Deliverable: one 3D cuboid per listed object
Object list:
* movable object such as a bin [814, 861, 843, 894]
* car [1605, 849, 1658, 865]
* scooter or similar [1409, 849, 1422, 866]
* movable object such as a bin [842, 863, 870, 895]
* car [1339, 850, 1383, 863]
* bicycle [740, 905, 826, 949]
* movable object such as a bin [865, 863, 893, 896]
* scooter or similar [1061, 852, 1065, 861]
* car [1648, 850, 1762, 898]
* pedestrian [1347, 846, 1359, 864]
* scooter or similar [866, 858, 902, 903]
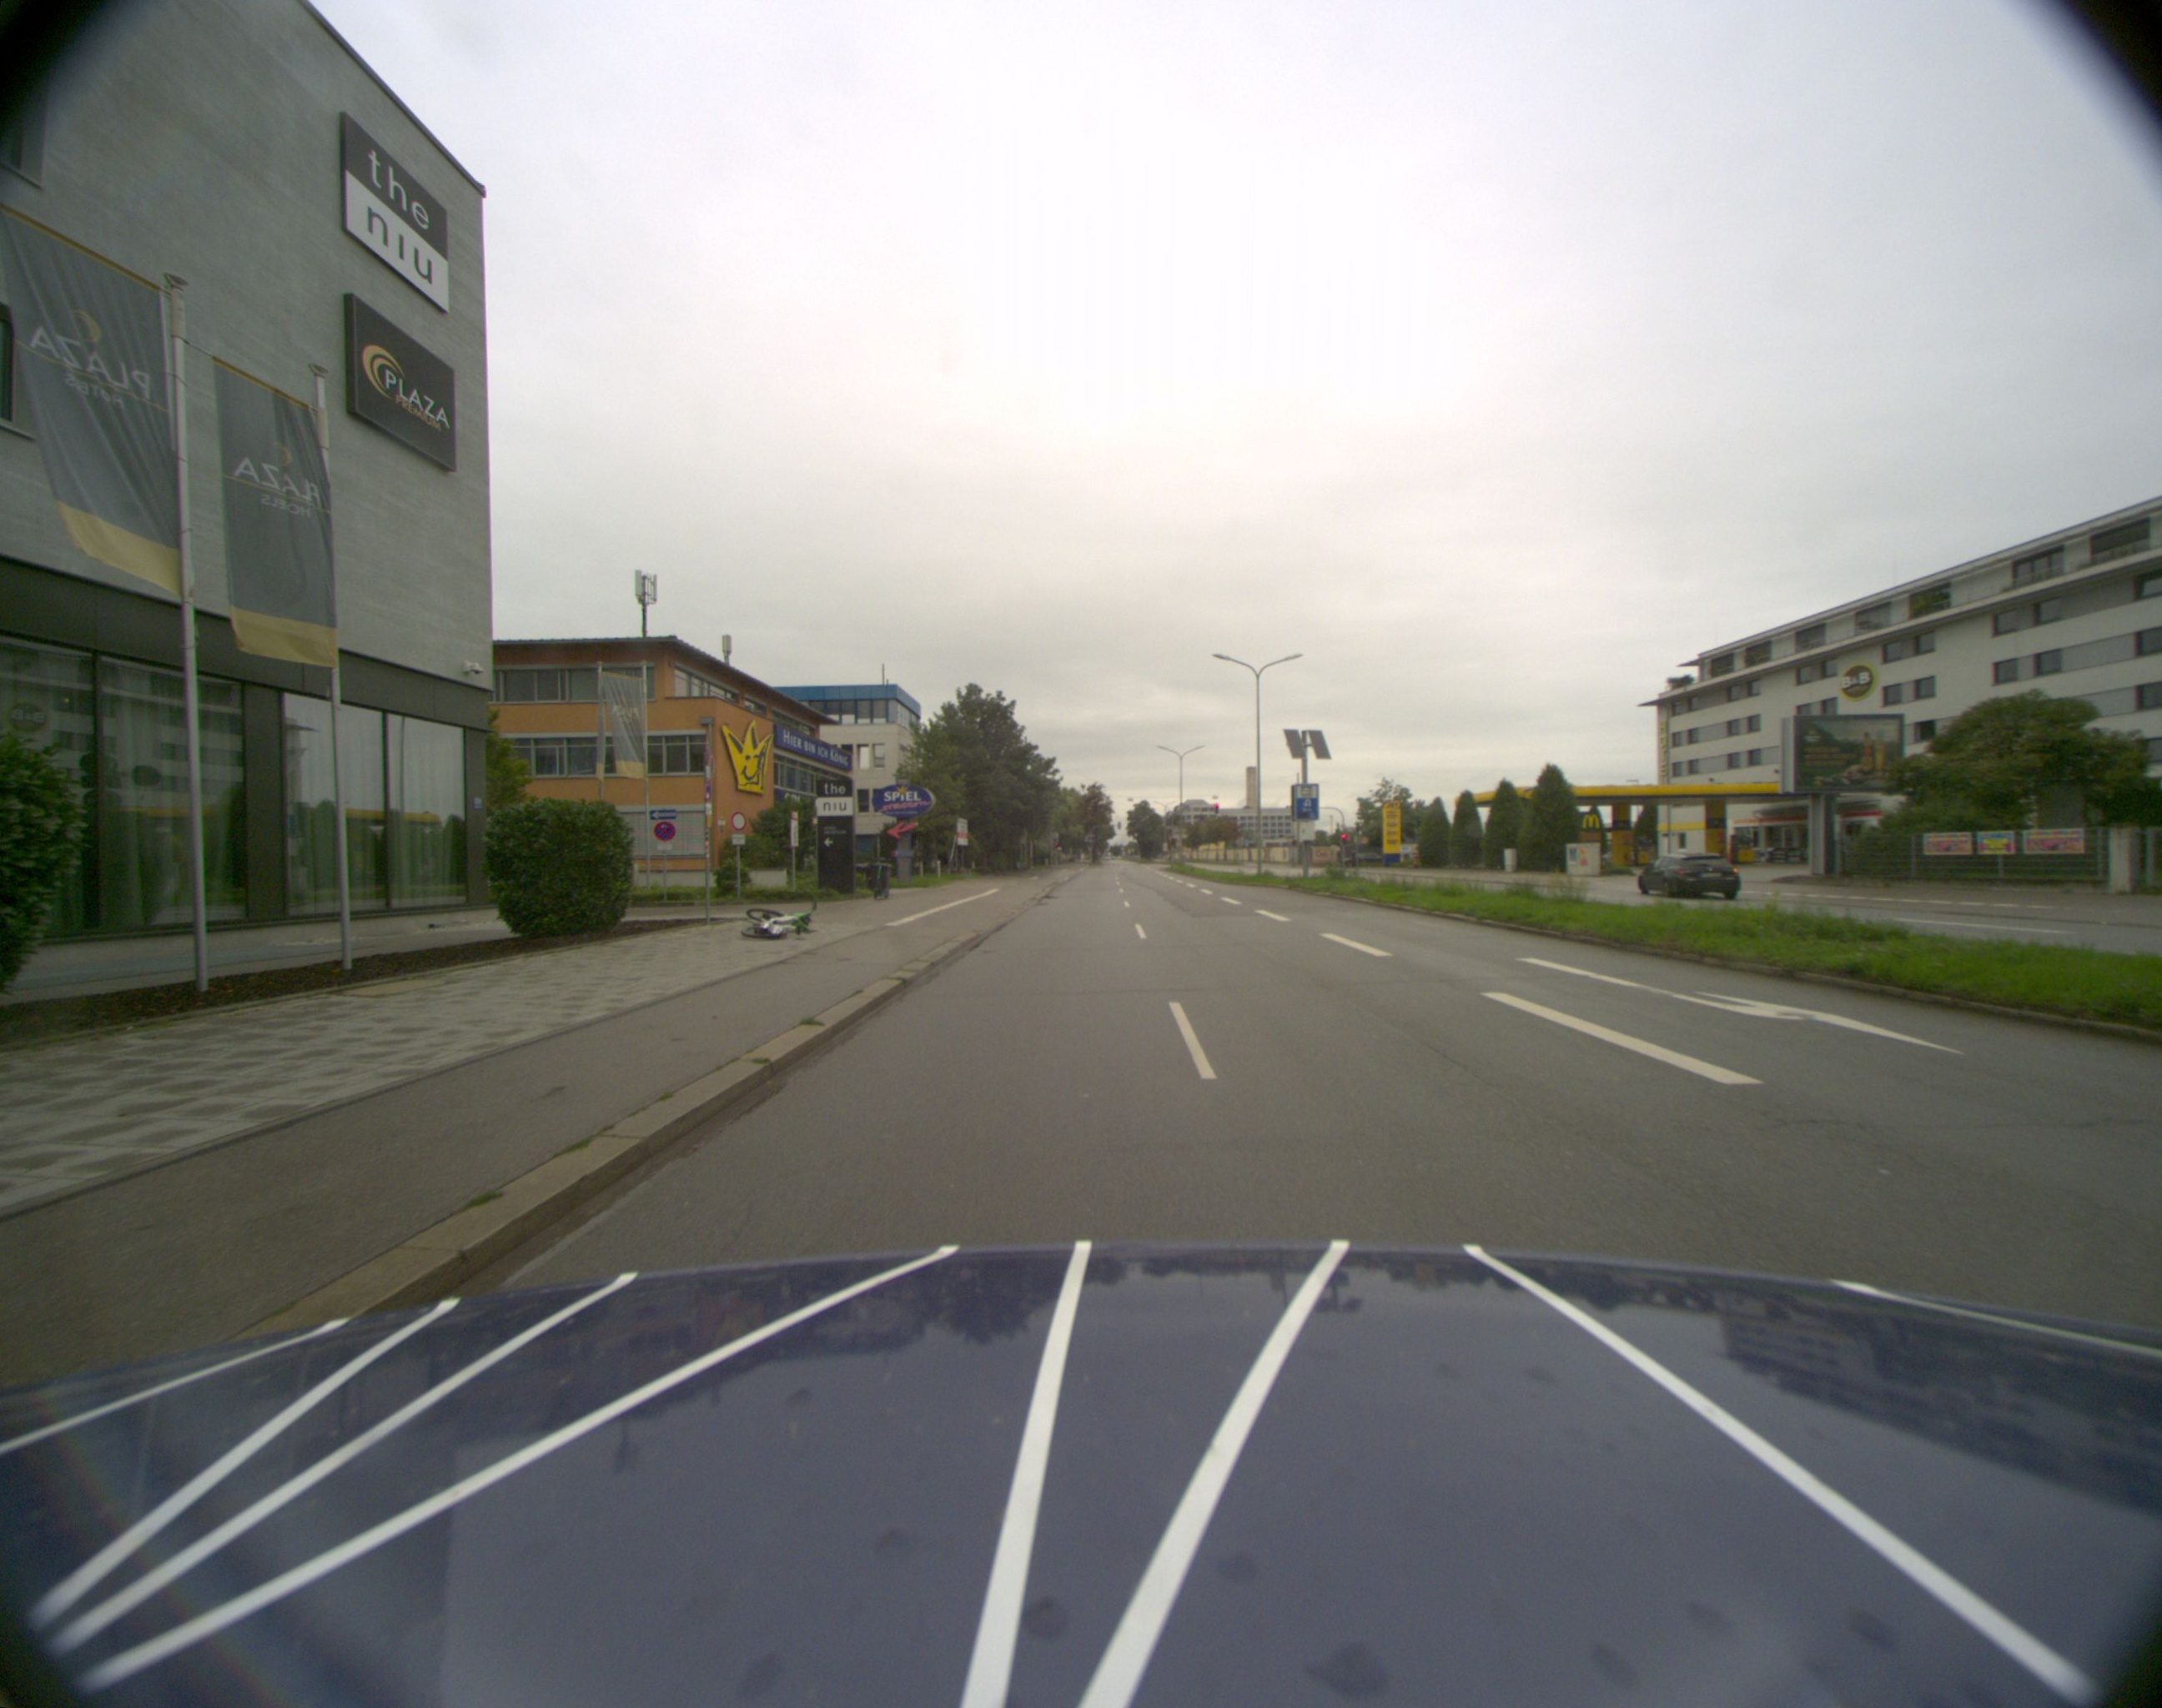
[{"bbox_3d":[-8.487,0.791,25.549,0.738,1.072,0.655,1,1,2],"label":"movable object such as a bin"},{"bbox_3d":[50.203,0.253,69.410,1.907,1.469,4.193,0,0,1],"label":"car"},{"bbox_3d":[25.768,0.252,58.546,0.356,1.235,1.546,-3,0,7],"label":"scooter or similar"},{"bbox_3d":[-7.556,0.837,25.537,0.738,1.072,0.655,1,1,2],"label":"movable object such as a bin"},{"bbox_3d":[31.314,0.295,84.982,4.259,1.419,2.001,-1,0,4],"label":"car"},{"bbox_3d":[-5.037,1.215,12.973,0.721,0.545,1.732,3,0,1],"label":"bicycle"},{"bbox_3d":[-6.768,0.847,25.494,0.738,1.072,0.655,1,1,2],"label":"movable object such as a bin"},{"bbox_3d":[-2.742,0.357,114.590,0.371,1.416,1.404,0,0,-13],"label":"scooter or similar"},{"bbox_3d":[20.382,0.599,25.049,1.995,1.393,4.663,1,0,28],"label":"car"},{"bbox_3d":[25.143,0.062,70.123,0.804,1.605,0.687,-3,1,1],"label":"pedestrian"},{"bbox_3d":[-6.036,0.794,23.339,0.587,1.270,1.404,4,1,2],"label":"scooter or similar"}]
